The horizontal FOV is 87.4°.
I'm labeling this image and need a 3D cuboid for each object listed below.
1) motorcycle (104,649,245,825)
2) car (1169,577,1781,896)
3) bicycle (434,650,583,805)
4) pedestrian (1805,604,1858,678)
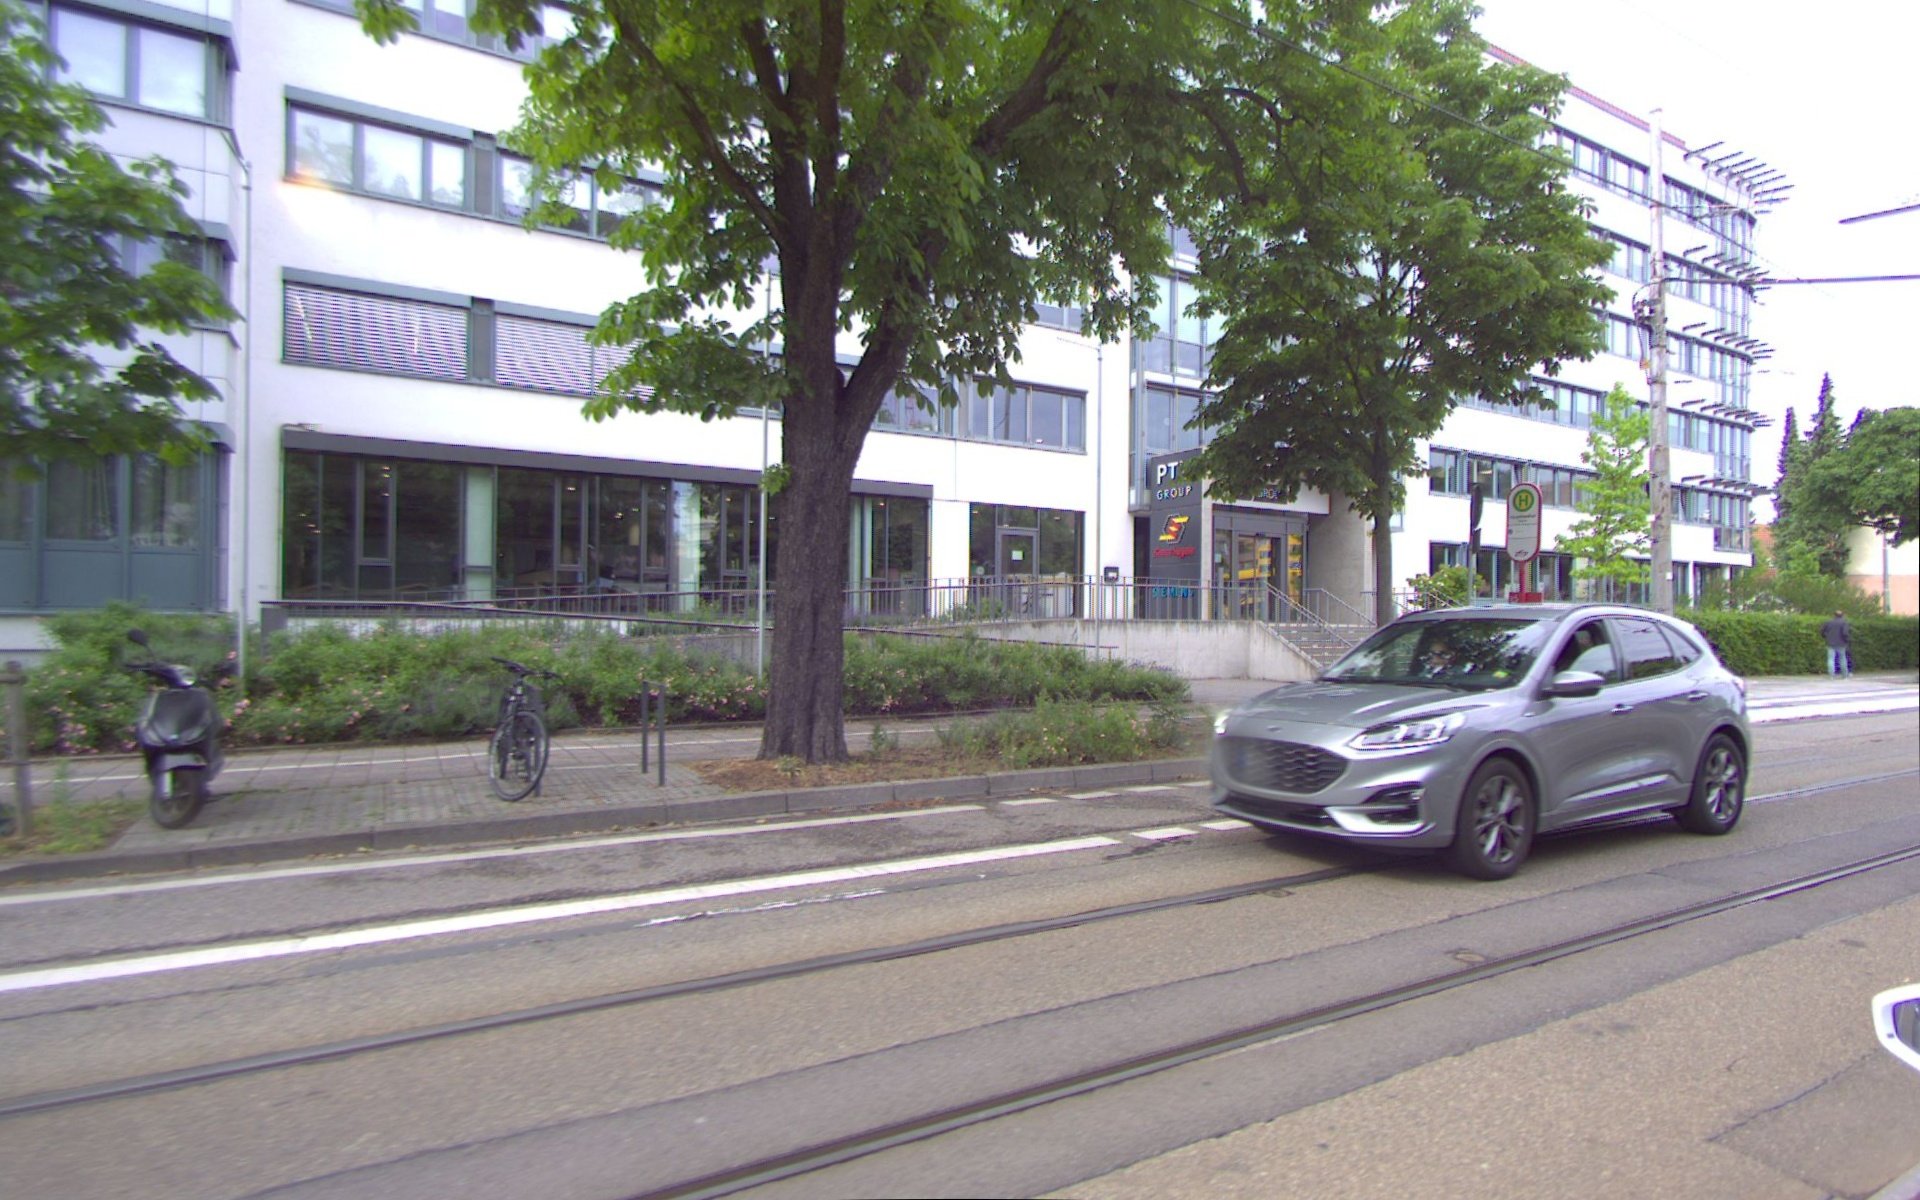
[{"bbox_3d":[-5.789,0.935,7.472,0.726,1.064,1.775,2,-1,-36],"label":"motorcycle"},{"bbox_3d":[3.774,0.789,7.202,4.337,1.676,1.834,1,-3,-30],"label":"car"},{"bbox_3d":[-3.814,0.994,8.404,0.735,1.067,1.814,1,-1,-38],"label":"bicycle"},{"bbox_3d":[24.340,1.142,28.050,0.977,2.040,0.708,2,0,-23],"label":"pedestrian"}]
